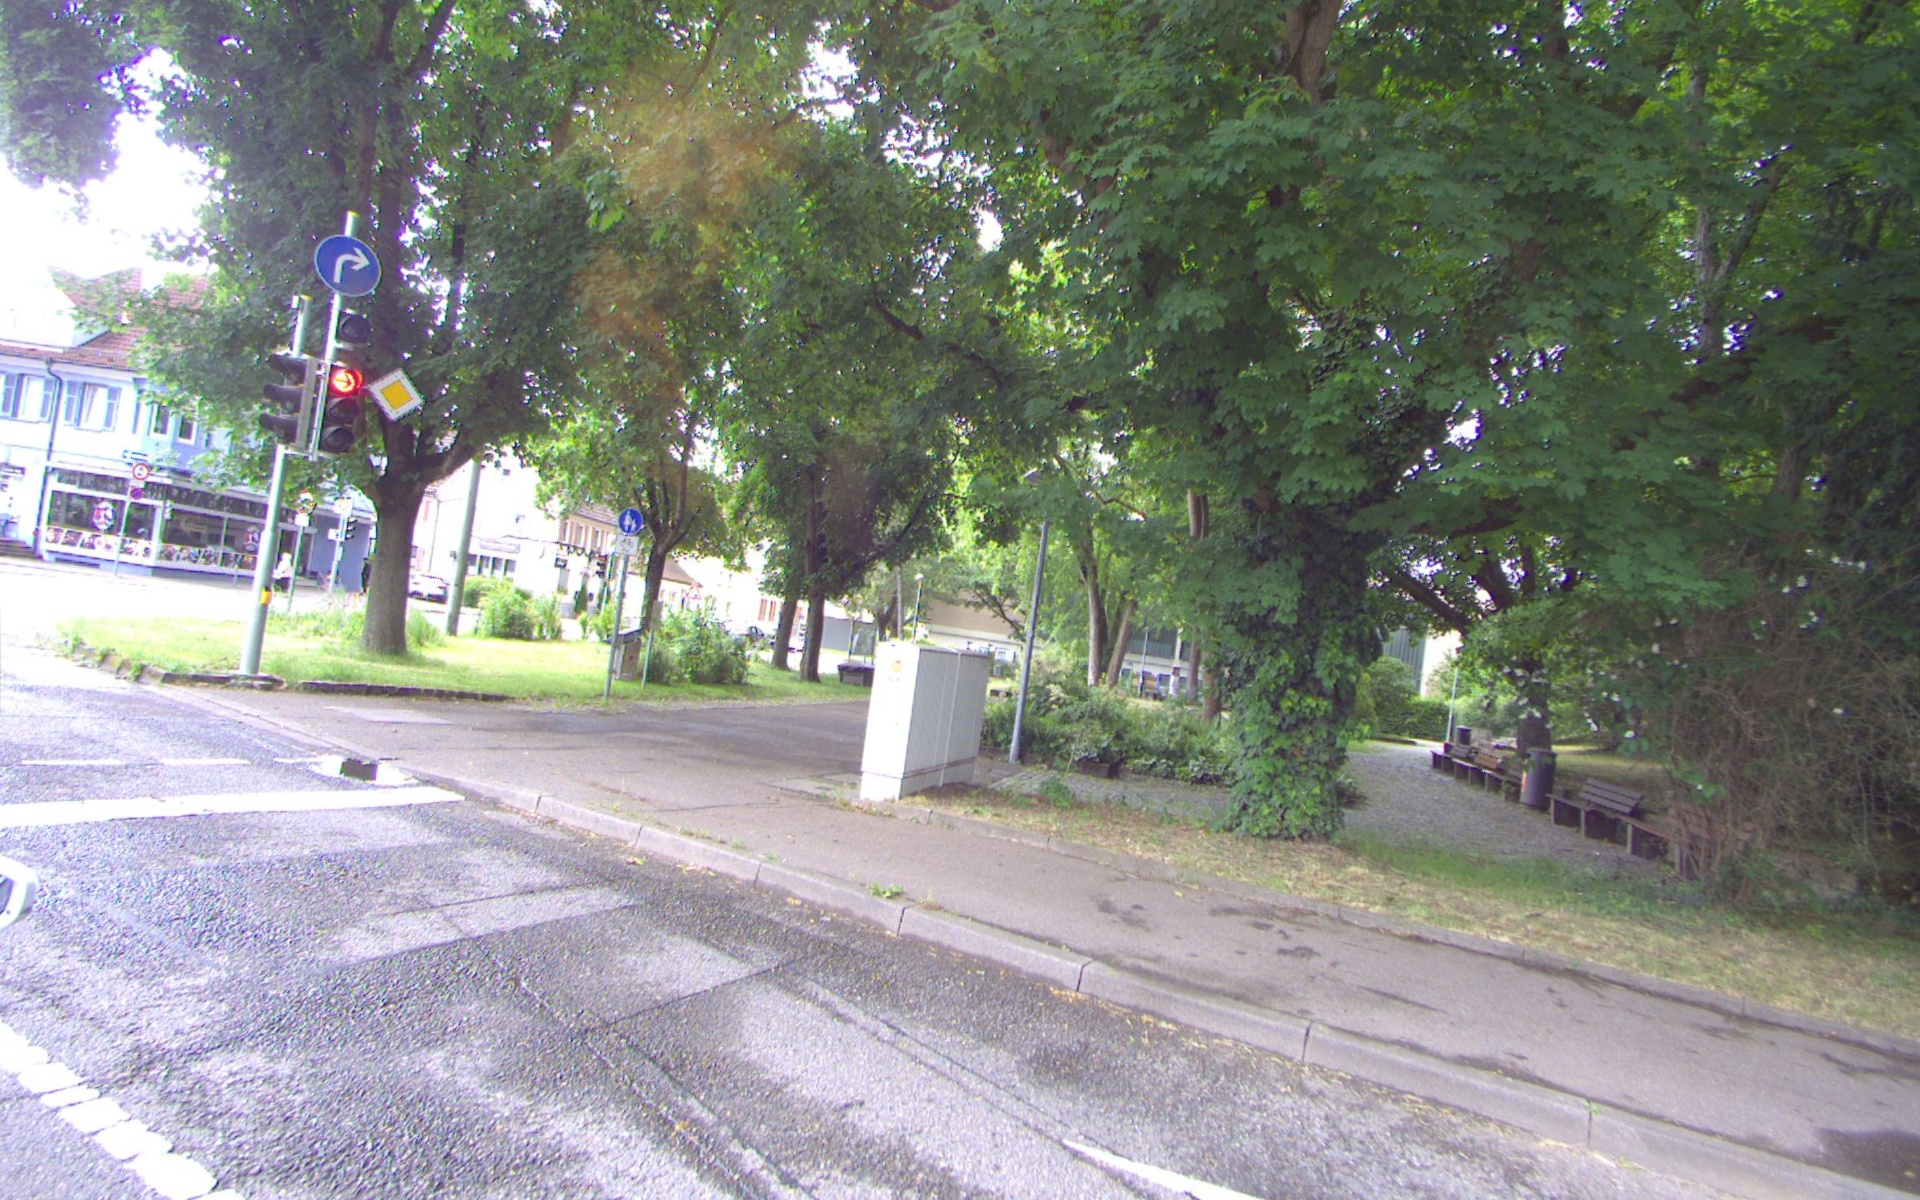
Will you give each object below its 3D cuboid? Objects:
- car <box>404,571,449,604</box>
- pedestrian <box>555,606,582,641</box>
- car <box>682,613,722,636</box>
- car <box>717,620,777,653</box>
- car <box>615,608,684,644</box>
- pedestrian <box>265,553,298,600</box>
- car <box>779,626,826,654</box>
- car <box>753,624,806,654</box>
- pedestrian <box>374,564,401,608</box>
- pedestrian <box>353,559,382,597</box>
[{"bbox_3d":[-28.184,-0.696,53.163,1.870,1.406,3.589,9,-2,-28],"label":"car"},{"bbox_3d":[-12.905,0.774,33.189,0.506,1.093,0.507,6,-1,17],"label":"pedestrian"},{"bbox_3d":[-19.052,1.839,74.442,1.736,1.463,3.865,7,-2,2],"label":"car"},{"bbox_3d":[-11.573,2.011,54.939,1.618,1.474,3.740,7,-2,13],"label":"car"},{"bbox_3d":[-13.539,1.158,44.035,1.436,1.282,3.014,7,-2,13],"label":"car"},{"bbox_3d":[-24.227,-0.840,35.935,0.725,1.578,0.763,7,-1,-27],"label":"pedestrian"},{"bbox_3d":[-10.286,2.650,66.044,1.618,1.474,3.740,7,-2,13],"label":"car"},{"bbox_3d":[-10.711,2.334,59.913,1.618,1.474,3.740,7,-2,13],"label":"car"},{"bbox_3d":[-21.374,-0.521,37.579,0.688,1.578,0.662,7,-1,-27],"label":"pedestrian"},{"bbox_3d":[-26.769,-0.974,45.450,0.732,1.578,0.673,6,-1,17],"label":"pedestrian"}]
